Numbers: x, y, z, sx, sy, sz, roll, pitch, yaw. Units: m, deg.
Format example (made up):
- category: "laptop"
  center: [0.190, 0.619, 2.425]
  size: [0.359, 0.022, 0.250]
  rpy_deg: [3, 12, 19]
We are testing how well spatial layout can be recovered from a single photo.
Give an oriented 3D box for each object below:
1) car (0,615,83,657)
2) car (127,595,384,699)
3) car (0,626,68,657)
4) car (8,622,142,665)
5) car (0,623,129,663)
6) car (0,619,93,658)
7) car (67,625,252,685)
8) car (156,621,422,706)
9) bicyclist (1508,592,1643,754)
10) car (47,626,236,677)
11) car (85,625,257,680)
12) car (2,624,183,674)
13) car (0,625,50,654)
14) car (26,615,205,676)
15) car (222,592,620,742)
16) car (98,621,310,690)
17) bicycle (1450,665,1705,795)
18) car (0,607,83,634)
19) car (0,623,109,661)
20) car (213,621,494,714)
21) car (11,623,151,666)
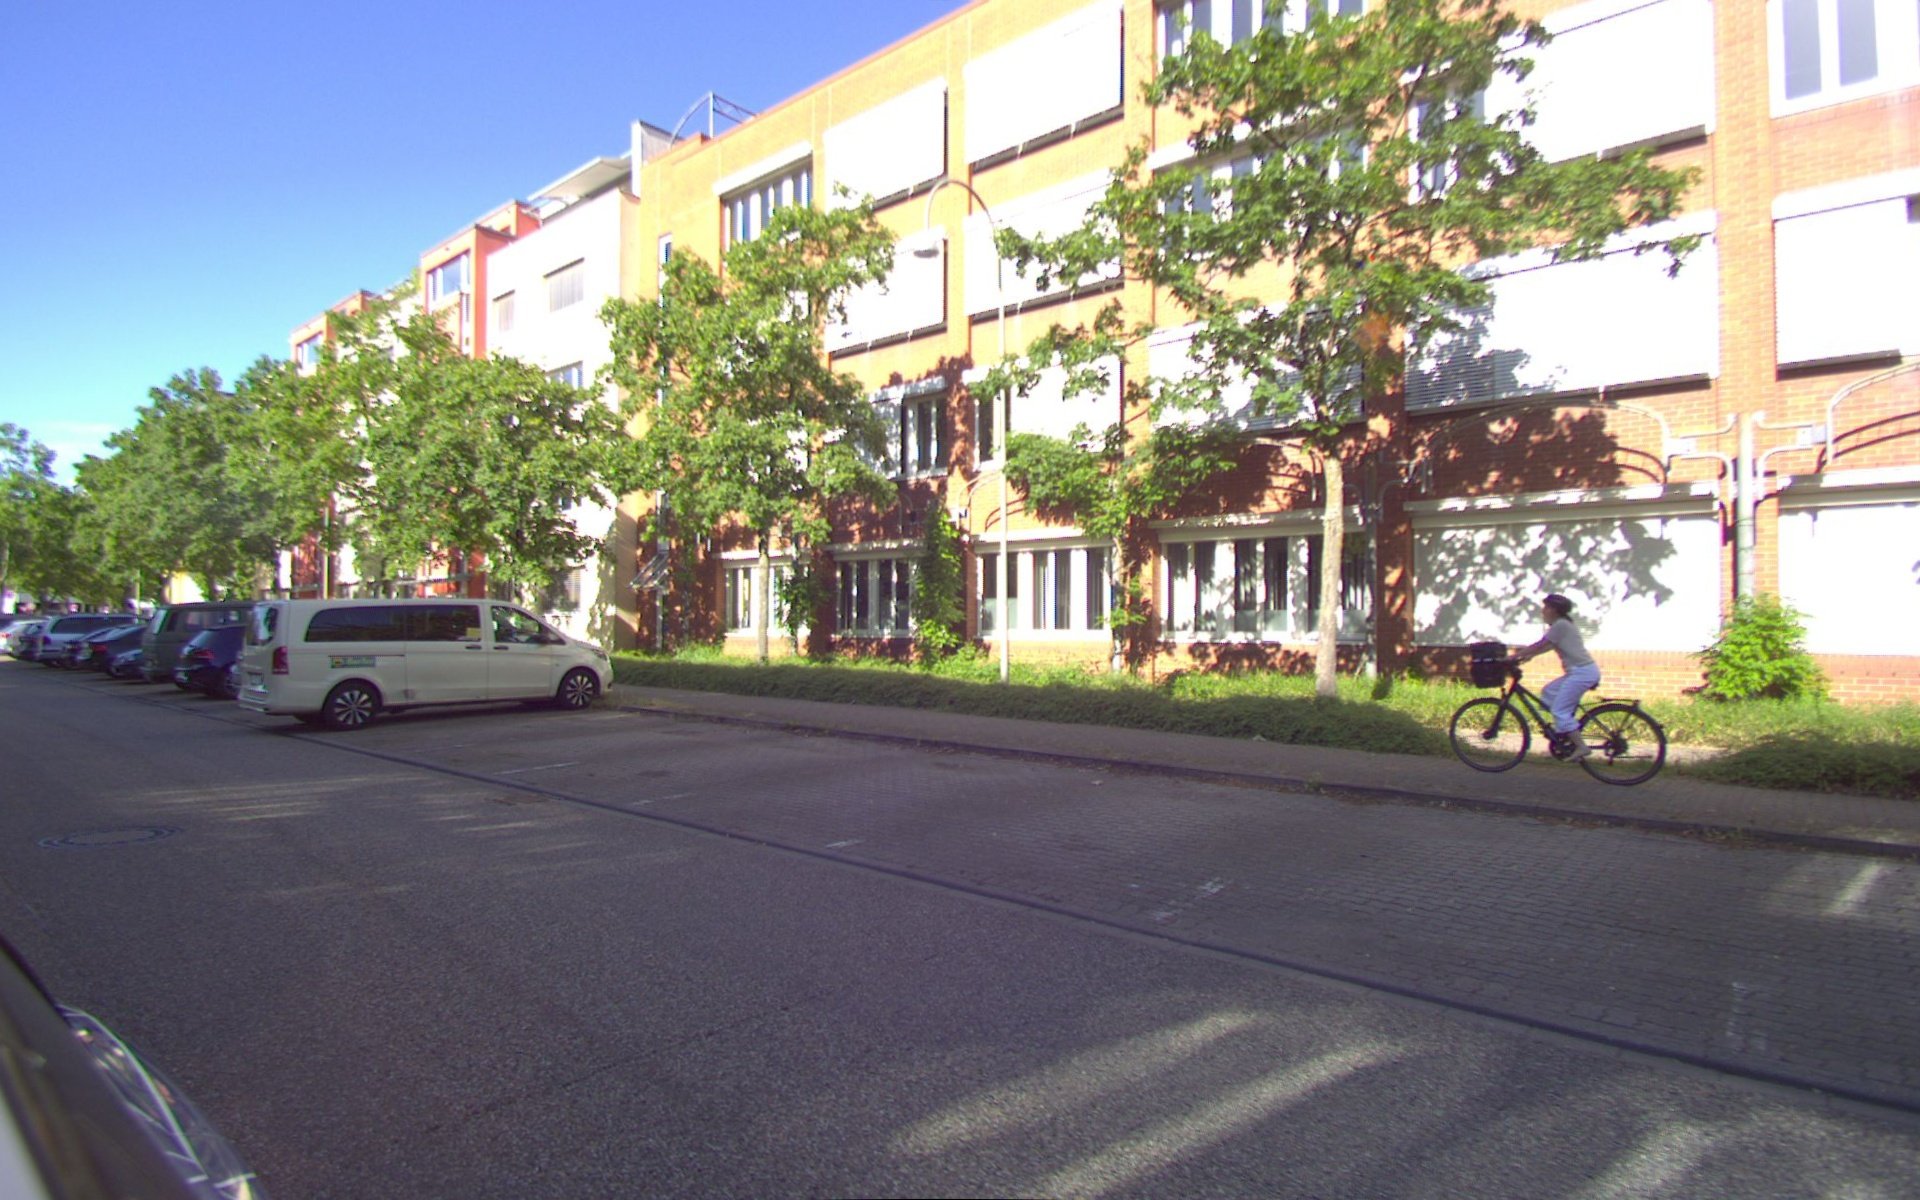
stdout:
- category: "car"
  center: [-42.192, 1.615, 45.619]
  size: [1.785, 1.825, 3.851]
  rpy_deg: [-1, -1, 41]
- category: "car"
  center: [-15.776, 0.955, 22.837]
  size: [2.083, 2.105, 4.439]
  rpy_deg: [-1, -1, 43]
- category: "car"
  center: [-45.818, 1.997, 48.941]
  size: [1.738, 1.434, 3.851]
  rpy_deg: [-1, -1, 41]
- category: "car"
  center: [-34.427, 1.643, 39.437]
  size: [1.858, 1.520, 3.689]
  rpy_deg: [-1, -1, 40]
- category: "car"
  center: [-36.251, 1.698, 40.993]
  size: [1.857, 1.458, 3.692]
  rpy_deg: [-1, -1, 37]
- category: "car"
  center: [-40.262, 1.646, 43.875]
  size: [1.858, 1.586, 3.852]
  rpy_deg: [-1, -1, 40]
- category: "car"
  center: [-21.489, 1.423, 27.262]
  size: [1.724, 1.438, 3.687]
  rpy_deg: [-1, -1, 41]
- category: "car"
  center: [-13.800, 1.227, 20.985]
  size: [1.943, 1.489, 4.274]
  rpy_deg: [-1, -1, 43]
- category: "bicyclist"
  center: [5.527, 0.632, 9.096]
  size: [0.913, 1.363, 0.598]
  rpy_deg: [-2, -3, 45]
- category: "car"
  center: [-25.000, 1.523, 31.043]
  size: [1.755, 1.369, 4.277]
  rpy_deg: [-1, -1, 40]
- category: "car"
  center: [-22.898, 1.475, 29.460]
  size: [1.723, 1.438, 3.689]
  rpy_deg: [-1, -1, 40]
- category: "car"
  center: [-28.800, 1.582, 33.707]
  size: [1.770, 1.438, 4.360]
  rpy_deg: [-1, -1, 39]
- category: "car"
  center: [-49.562, 2.066, 51.911]
  size: [1.740, 1.434, 4.215]
  rpy_deg: [-1, -1, 44]
- category: "car"
  center: [-26.964, 1.396, 32.378]
  size: [4.271, 1.730, 1.964]
  rpy_deg: [0, -1, -45]
- category: "car"
  center: [-8.238, 0.889, 15.937]
  size: [1.942, 1.982, 5.202]
  rpy_deg: [-1, -1, 42]
- category: "car"
  center: [-19.259, 1.355, 25.922]
  size: [1.724, 1.539, 4.089]
  rpy_deg: [-1, -1, 41]
- category: "bicycle"
  center: [5.498, 1.111, 9.108]
  size: [1.864, 0.989, 0.598]
  rpy_deg: [-1, -3, 45]
- category: "car"
  center: [-70.110, 1.551, 77.084]
  size: [1.983, 2.000, 4.743]
  rpy_deg: [-1, -2, 17]
- category: "car"
  center: [-38.198, 1.737, 42.337]
  size: [1.873, 1.458, 3.692]
  rpy_deg: [-1, -1, 37]
- category: "car"
  center: [-11.540, 1.200, 19.467]
  size: [1.943, 1.489, 4.274]
  rpy_deg: [-1, -1, 43]
- category: "car"
  center: [-32.654, 1.624, 37.655]
  size: [1.839, 1.438, 3.689]
  rpy_deg: [-1, -1, 40]
